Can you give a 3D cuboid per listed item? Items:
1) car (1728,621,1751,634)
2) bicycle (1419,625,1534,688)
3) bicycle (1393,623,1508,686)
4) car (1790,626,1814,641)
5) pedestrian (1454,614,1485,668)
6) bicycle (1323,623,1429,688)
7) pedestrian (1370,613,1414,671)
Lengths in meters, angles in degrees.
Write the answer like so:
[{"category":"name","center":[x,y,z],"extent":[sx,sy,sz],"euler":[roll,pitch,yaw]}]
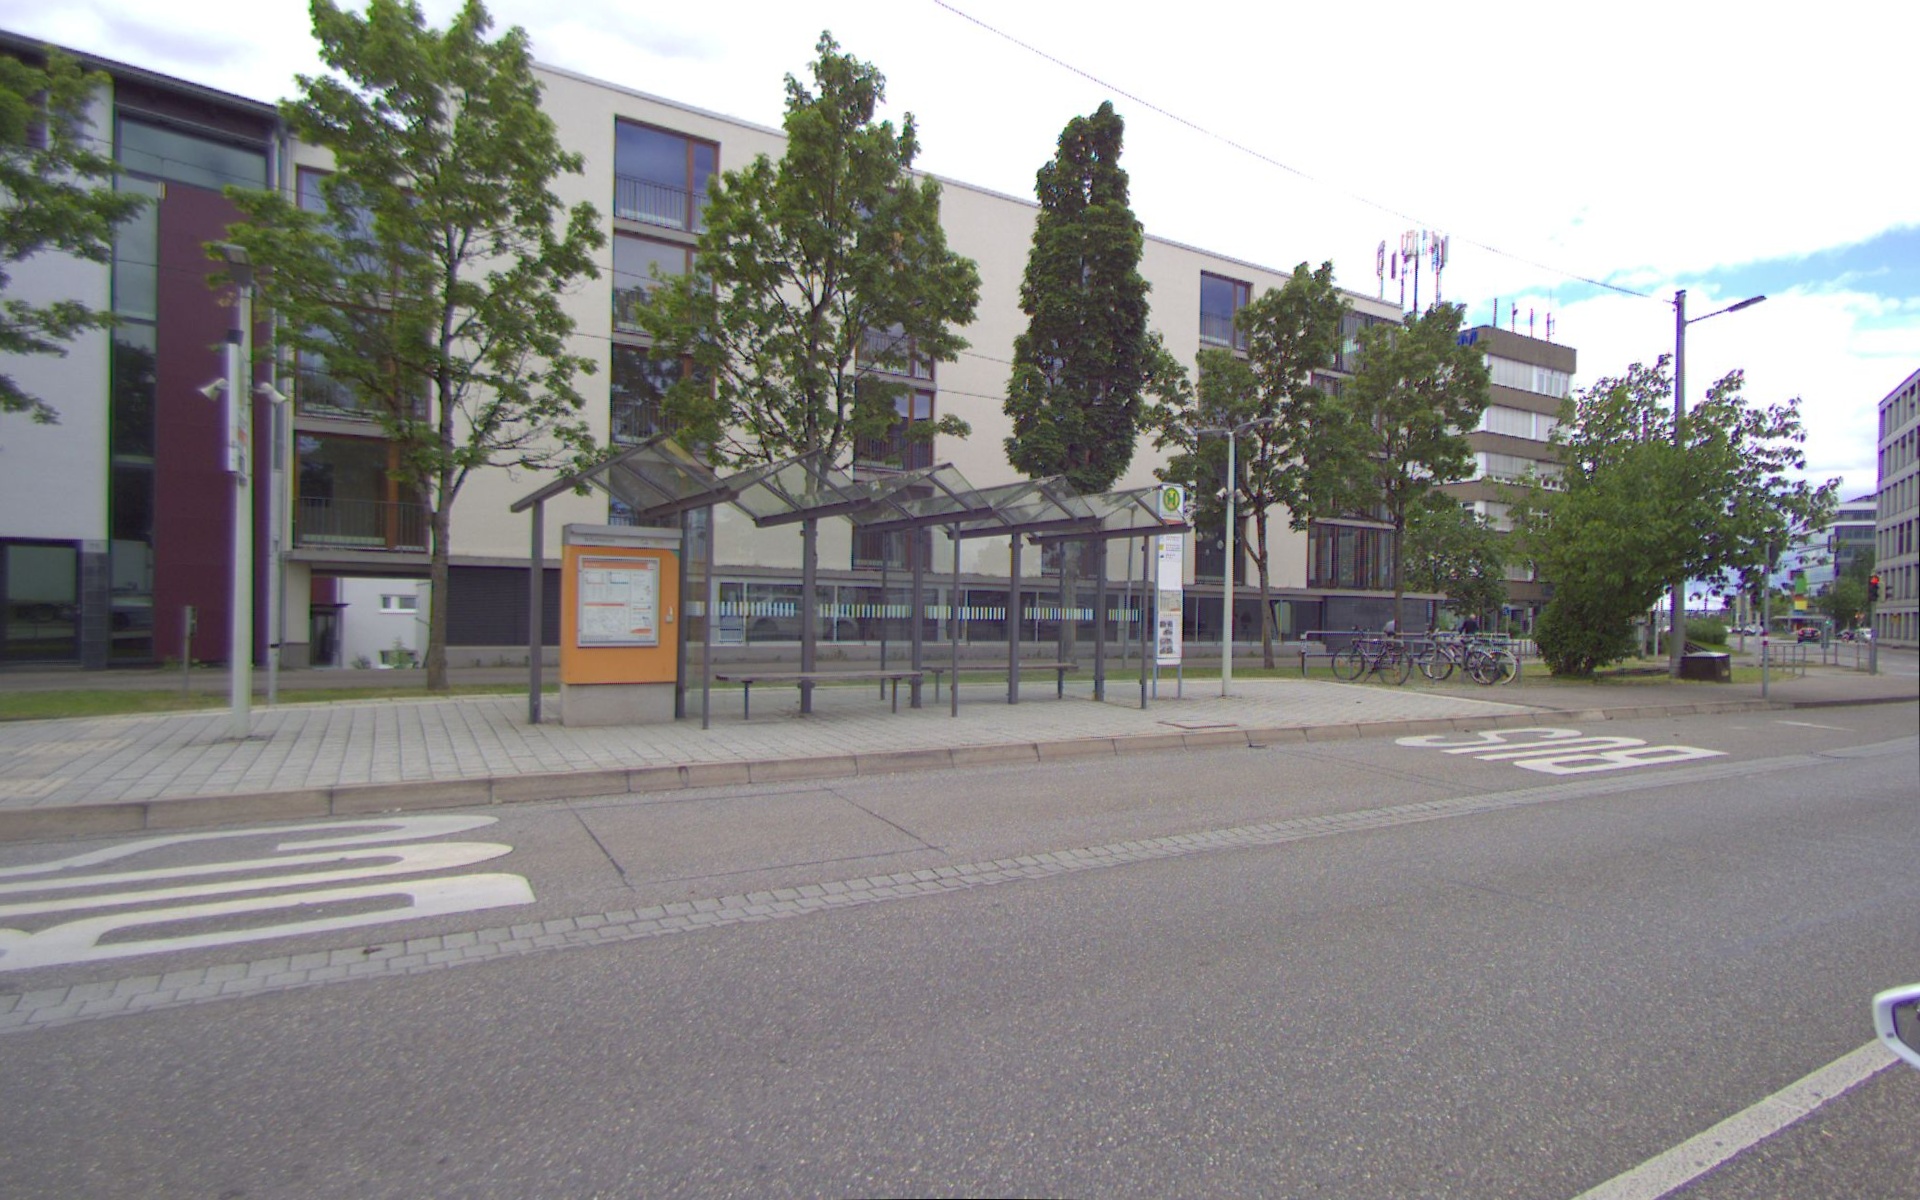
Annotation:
[{"category":"car","center":[108.652,3.832,140.048],"extent":[1.823,1.718,3.995],"euler":[1,-1,27]},{"category":"bicycle","center":[10.585,1.134,20.658],"extent":[0.624,1.121,2.089],"euler":[1,1,-29]},{"category":"bicycle","center":[9.917,1.079,20.379],"extent":[0.624,1.121,2.089],"euler":[1,1,-29]},{"category":"car","center":[89.507,3.556,106.704],"extent":[1.878,1.506,3.980],"euler":[1,-1,41]},{"category":"pedestrian","center":[19.985,1.609,39.400],"extent":[0.757,2.040,0.886],"euler":[5,2,40]},{"category":"bicycle","center":[7.973,1.041,19.355],"extent":[0.580,1.121,1.919],"euler":[1,1,-29]},{"category":"pedestrian","center":[13.910,1.365,32.360],"extent":[0.896,1.788,0.826],"euler":[2,2,-30]}]
